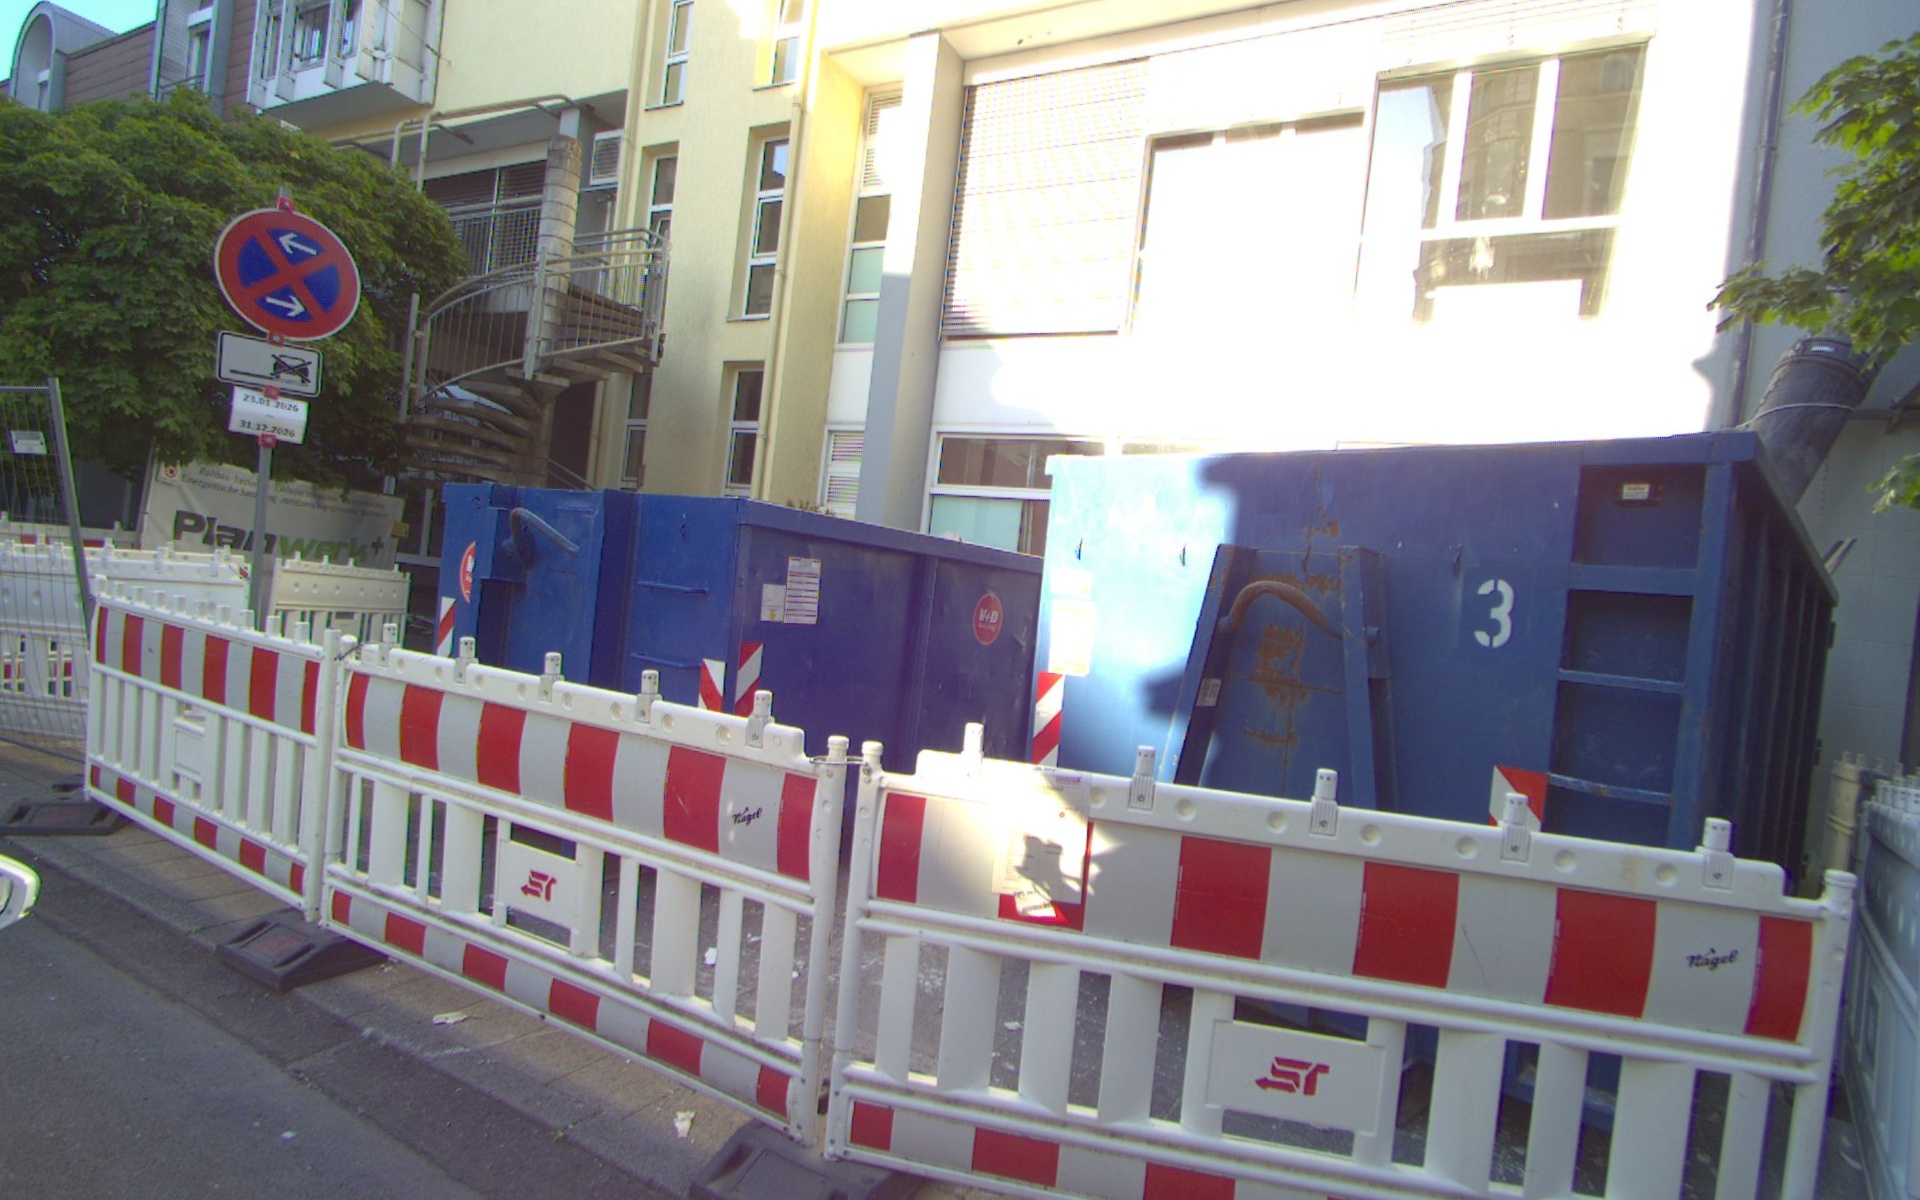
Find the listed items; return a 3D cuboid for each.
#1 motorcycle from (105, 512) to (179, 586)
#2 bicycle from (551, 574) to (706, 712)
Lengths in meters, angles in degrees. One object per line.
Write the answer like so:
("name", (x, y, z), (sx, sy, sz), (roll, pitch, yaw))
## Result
("motorcycle", (-15.454, -0.975, 18.983), (0.866, 1.237, 2.428), (6, 0, -42))
("bicycle", (-3.433, 0.480, 10.586), (0.539, 1.282, 1.652), (7, -2, 18))
